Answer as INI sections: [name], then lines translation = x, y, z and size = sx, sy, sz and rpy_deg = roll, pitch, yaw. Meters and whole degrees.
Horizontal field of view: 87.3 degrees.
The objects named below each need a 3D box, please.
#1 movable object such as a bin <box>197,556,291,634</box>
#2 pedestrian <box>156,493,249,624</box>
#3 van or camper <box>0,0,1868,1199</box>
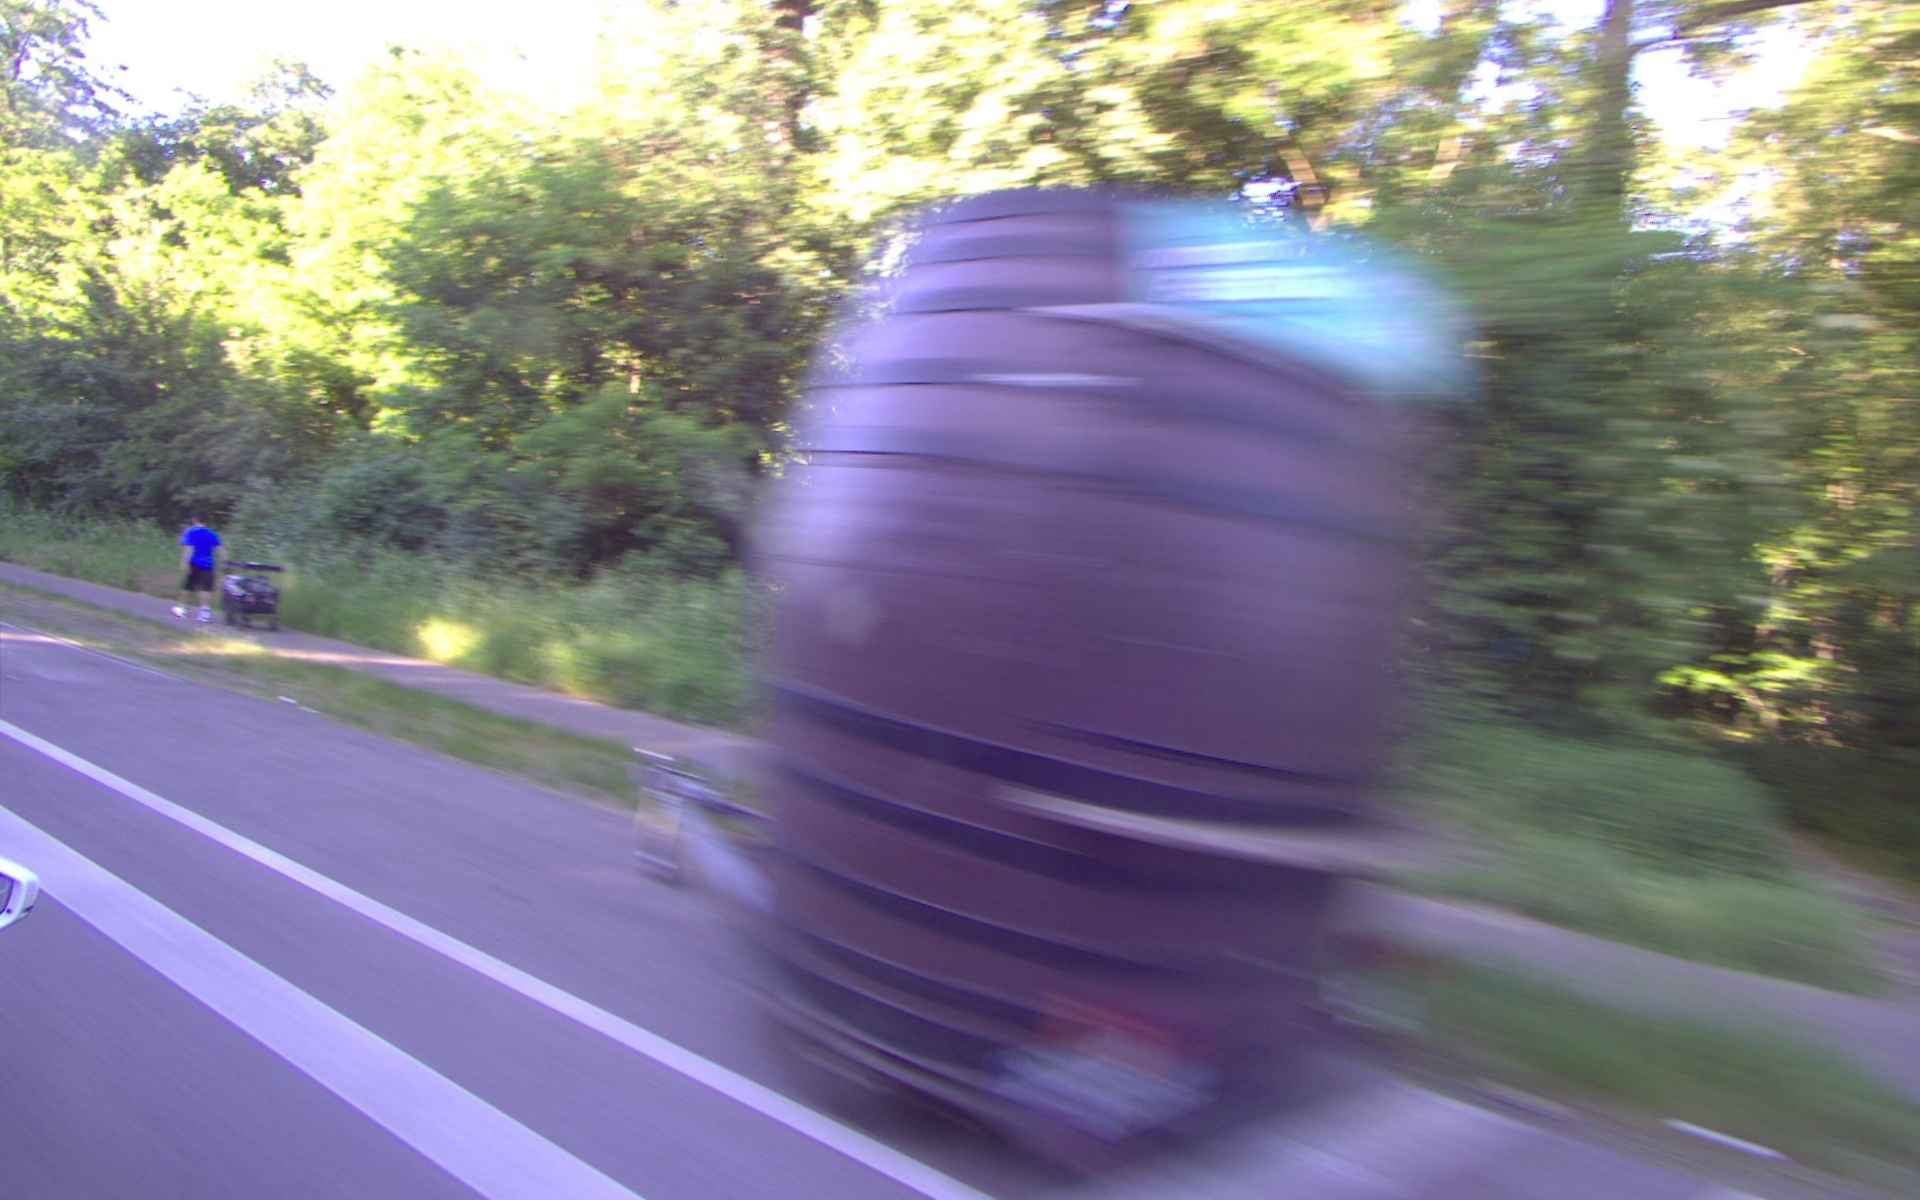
[movable object such as a bin]
translation = -10.953, -0.076, 15.397
size = 0.970, 1.060, 0.790
rpy_deg = 7, 1, 32
[pedestrian]
translation = -12.024, -0.655, 15.980
size = 0.904, 1.942, 0.768
rpy_deg = 7, 1, 31
[van or camper]
translation = -1.016, 0.038, 4.194
size = 6.438, 2.834, 2.448
rpy_deg = 7, 0, 24
